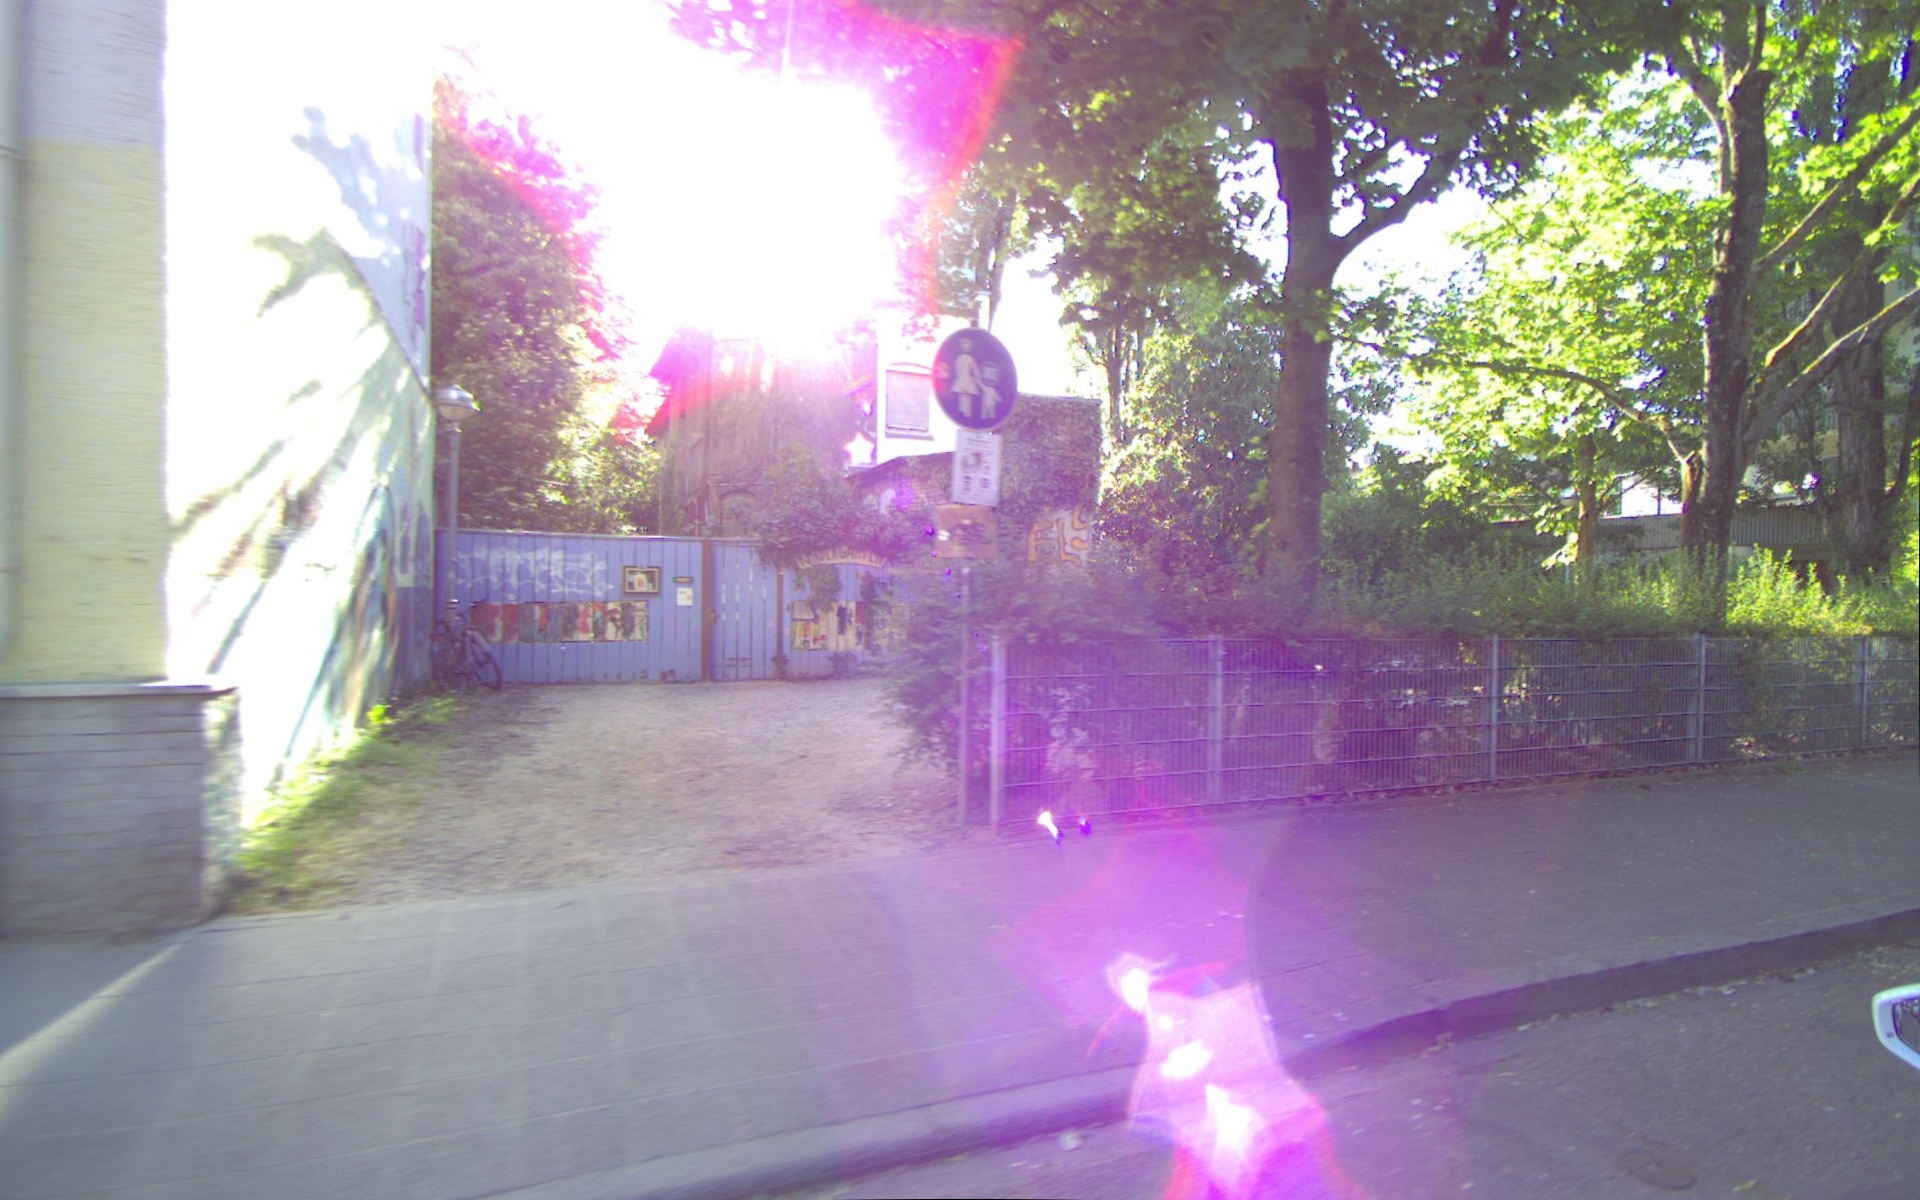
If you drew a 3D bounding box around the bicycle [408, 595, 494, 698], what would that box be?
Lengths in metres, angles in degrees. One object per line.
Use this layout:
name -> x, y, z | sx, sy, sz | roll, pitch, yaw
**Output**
bicycle -> -6.050, 0.516, 12.020 | 0.689, 1.123, 1.947 | 1, 0, -21
